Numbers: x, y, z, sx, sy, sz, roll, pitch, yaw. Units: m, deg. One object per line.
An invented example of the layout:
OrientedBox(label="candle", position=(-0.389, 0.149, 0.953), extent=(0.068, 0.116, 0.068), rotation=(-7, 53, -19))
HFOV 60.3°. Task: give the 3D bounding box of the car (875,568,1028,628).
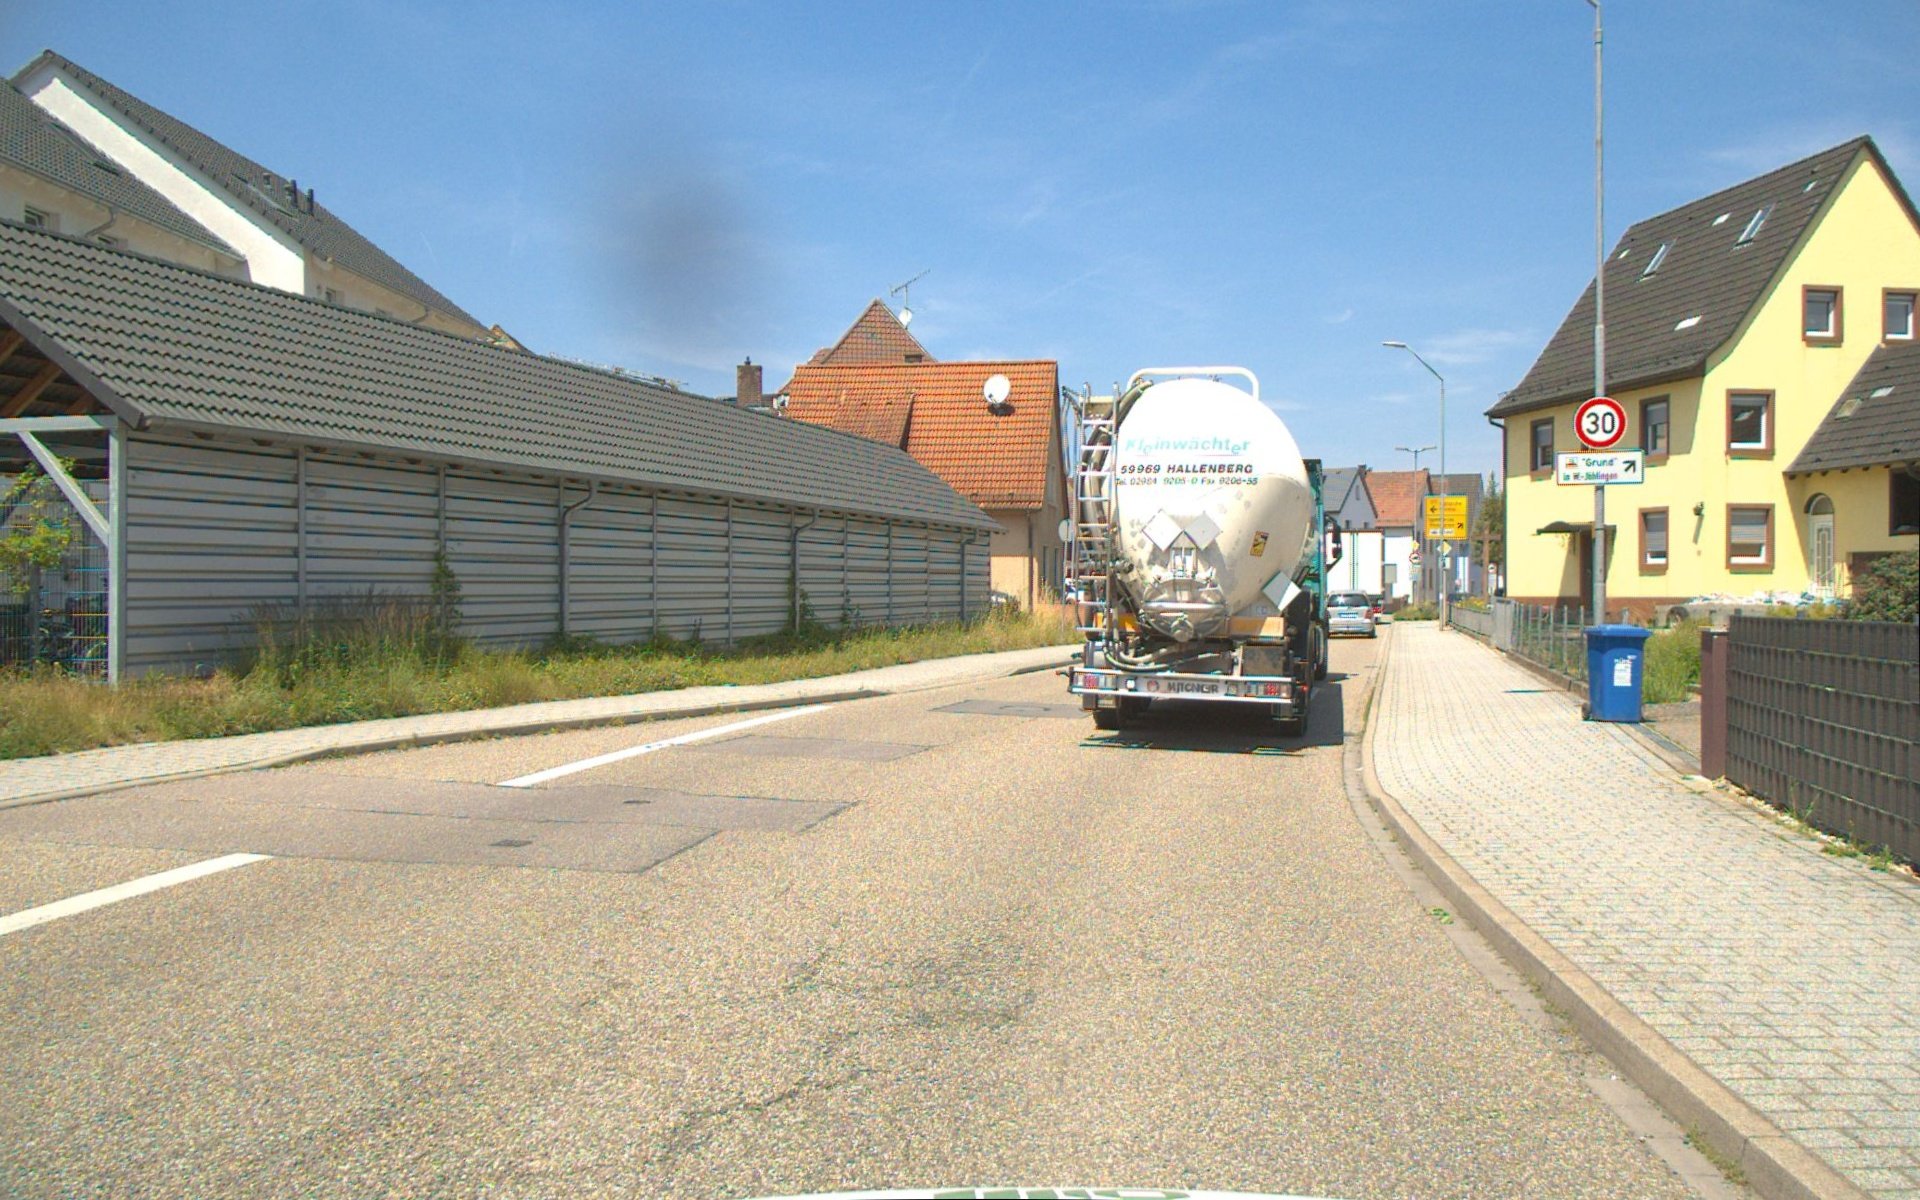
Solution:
OrientedBox(label="car", position=(-0.230, -0.055, 47.716), extent=(4.037, 1.667, 1.866), rotation=(-1, 0, 17))

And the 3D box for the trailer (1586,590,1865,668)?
OrientedBox(label="trailer", position=(16.310, 0.607, 35.322), extent=(5.255, 1.573, 2.131), rotation=(1, 0, -14))

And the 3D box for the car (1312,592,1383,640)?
OrientedBox(label="car", position=(12.691, 0.517, 54.354), extent=(1.803, 1.512, 4.003), rotation=(0, 0, 6))

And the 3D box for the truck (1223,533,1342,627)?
OrientedBox(label="truck", position=(15.947, -0.933, 82.076), extent=(3.063, 4.478, 5.892), rotation=(0, 0, -23))

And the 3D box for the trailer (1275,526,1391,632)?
OrientedBox(label="trailer", position=(16.595, -0.873, 74.506), extent=(3.066, 4.352, 12.500), rotation=(0, 0, 3))

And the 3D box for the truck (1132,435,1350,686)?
OrientedBox(label="truck", position=(5.176, -0.634, 29.656), extent=(2.926, 4.034, 5.580), rotation=(0, 0, 20))

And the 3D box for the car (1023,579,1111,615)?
OrientedBox(label="car", position=(5.708, -0.179, 88.541), extent=(4.433, 1.816, 1.872), rotation=(1, 2, 37))

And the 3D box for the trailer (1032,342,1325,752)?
OrientedBox(label="trailer", position=(3.338, -0.513, 22.177), extent=(2.889, 4.017, 11.628), rotation=(0, 0, 12))

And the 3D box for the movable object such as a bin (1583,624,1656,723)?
OrientedBox(label="movable object such as a bin", position=(7.379, 0.815, 18.525), extent=(0.553, 1.076, 0.651), rotation=(0, 0, 0))
